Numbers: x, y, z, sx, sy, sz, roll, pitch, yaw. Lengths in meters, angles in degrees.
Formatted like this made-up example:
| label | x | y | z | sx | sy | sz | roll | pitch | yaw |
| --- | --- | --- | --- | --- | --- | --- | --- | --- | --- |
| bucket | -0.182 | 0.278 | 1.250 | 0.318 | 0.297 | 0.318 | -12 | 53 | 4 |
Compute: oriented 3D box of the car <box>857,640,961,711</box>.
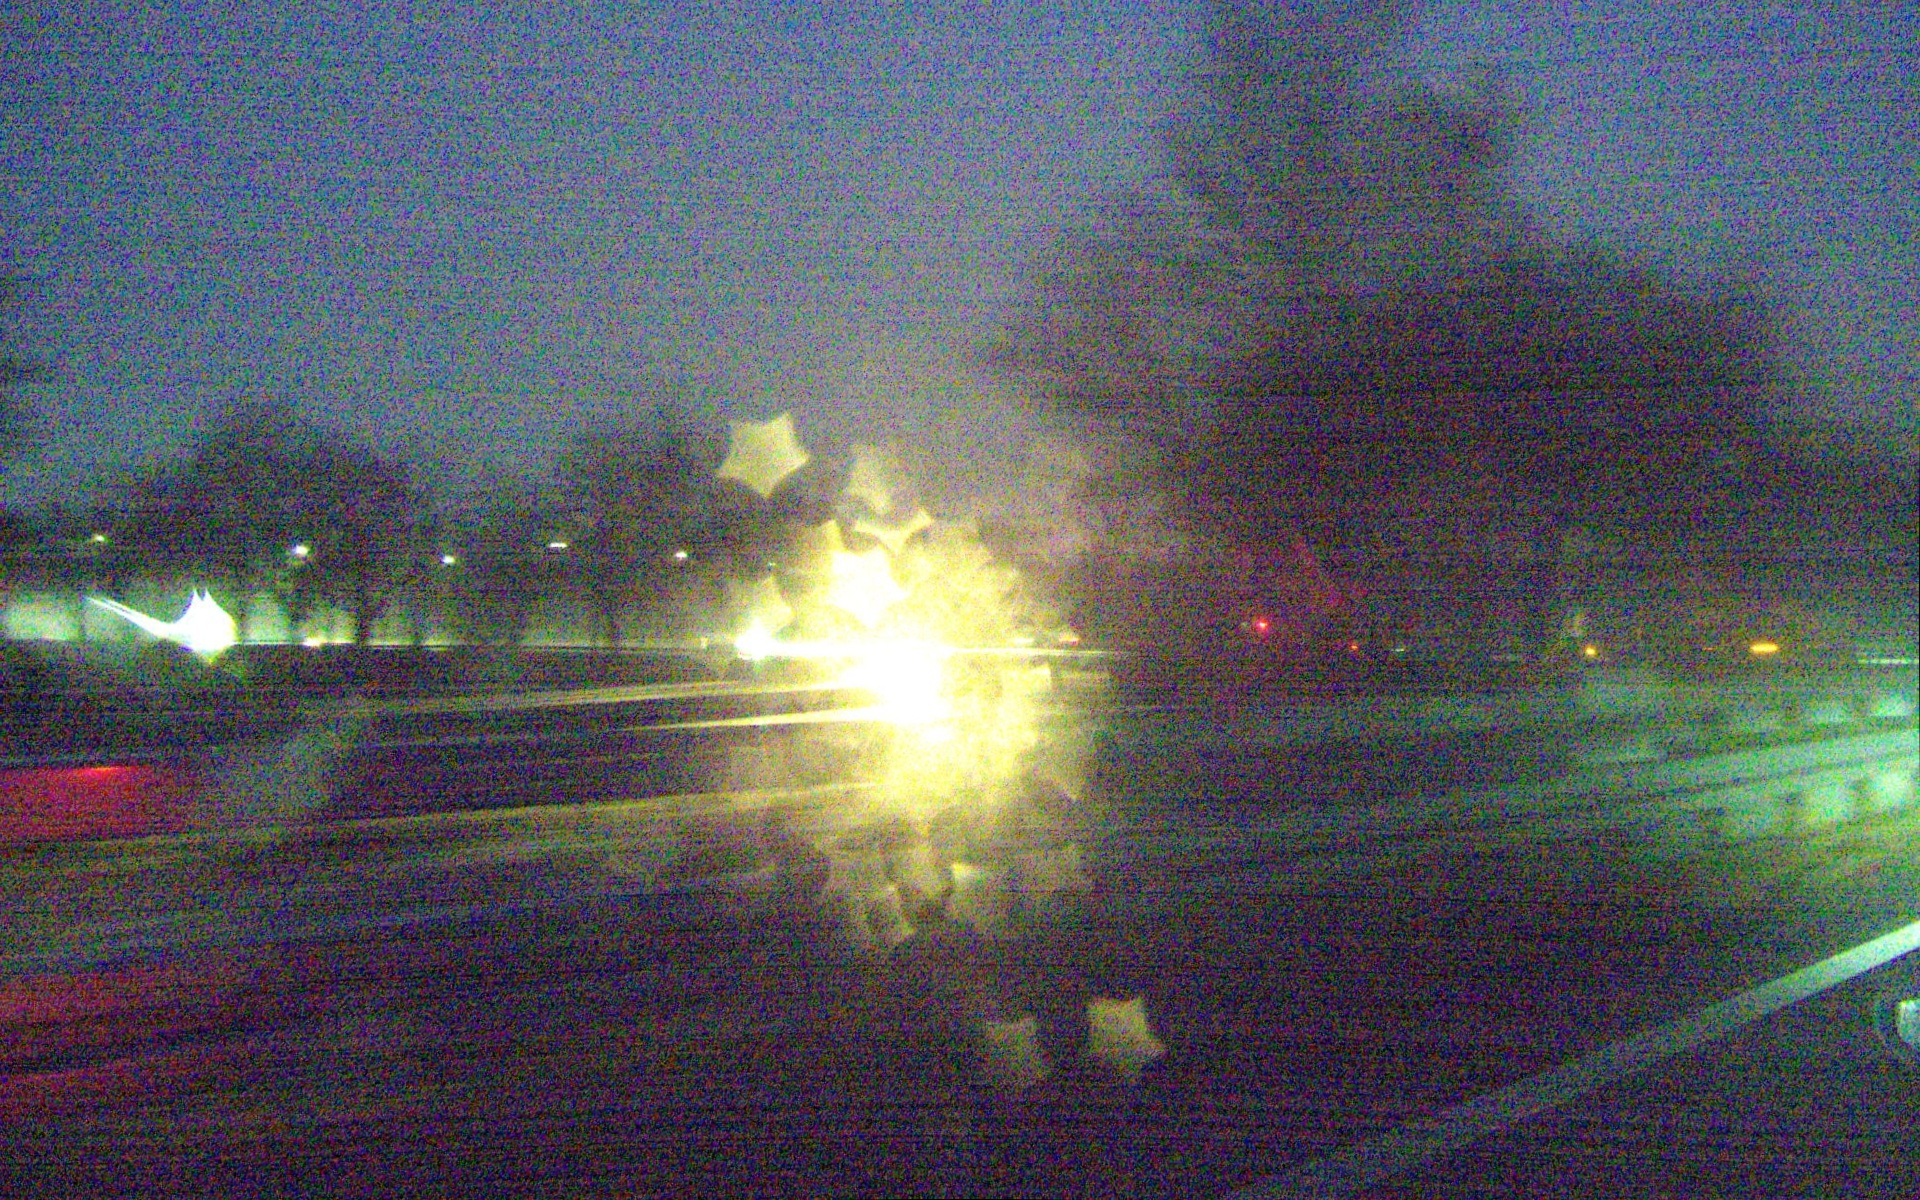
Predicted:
| label | x | y | z | sx | sy | sz | roll | pitch | yaw |
| --- | --- | --- | --- | --- | --- | --- | --- | --- | --- |
| car | -1.324 | 1.995 | 27.593 | 1.724 | 1.661 | 4.002 | 0 | 0 | 15 |

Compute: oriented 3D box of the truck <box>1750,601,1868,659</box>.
| label | x | y | z | sx | sy | sz | roll | pitch | yaw |
| --- | --- | --- | --- | --- | --- | --- | --- | --- | --- |
| truck | 56.172 | 1.936 | 66.593 | 5.349 | 3.761 | 2.597 | 0 | 0 | 18 |

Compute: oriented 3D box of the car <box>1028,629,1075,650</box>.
| label | x | y | z | sx | sy | sz | roll | pitch | yaw |
| --- | --- | --- | --- | --- | --- | --- | --- | --- | --- |
| car | 9.192 | 3.931 | 100.654 | 4.381 | 2.040 | 2.000 | 0 | 0 | 17 |

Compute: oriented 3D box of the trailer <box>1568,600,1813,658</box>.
| label | x | y | z | sx | sy | sz | roll | pitch | yaw |
| --- | --- | --- | --- | --- | --- | --- | --- | --- | --- |
| trailer | 49.564 | 1.914 | 68.699 | 13.380 | 3.775 | 2.600 | 0 | 0 | 18 |

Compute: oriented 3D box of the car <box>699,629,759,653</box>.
| label | x | y | z | sx | sy | sz | roll | pitch | yaw |
| --- | --- | --- | --- | --- | --- | --- | --- | --- | --- |
| car | -20.839 | 3.693 | 90.601 | 4.916 | 2.040 | 2.001 | 0 | 0 | 16 |
